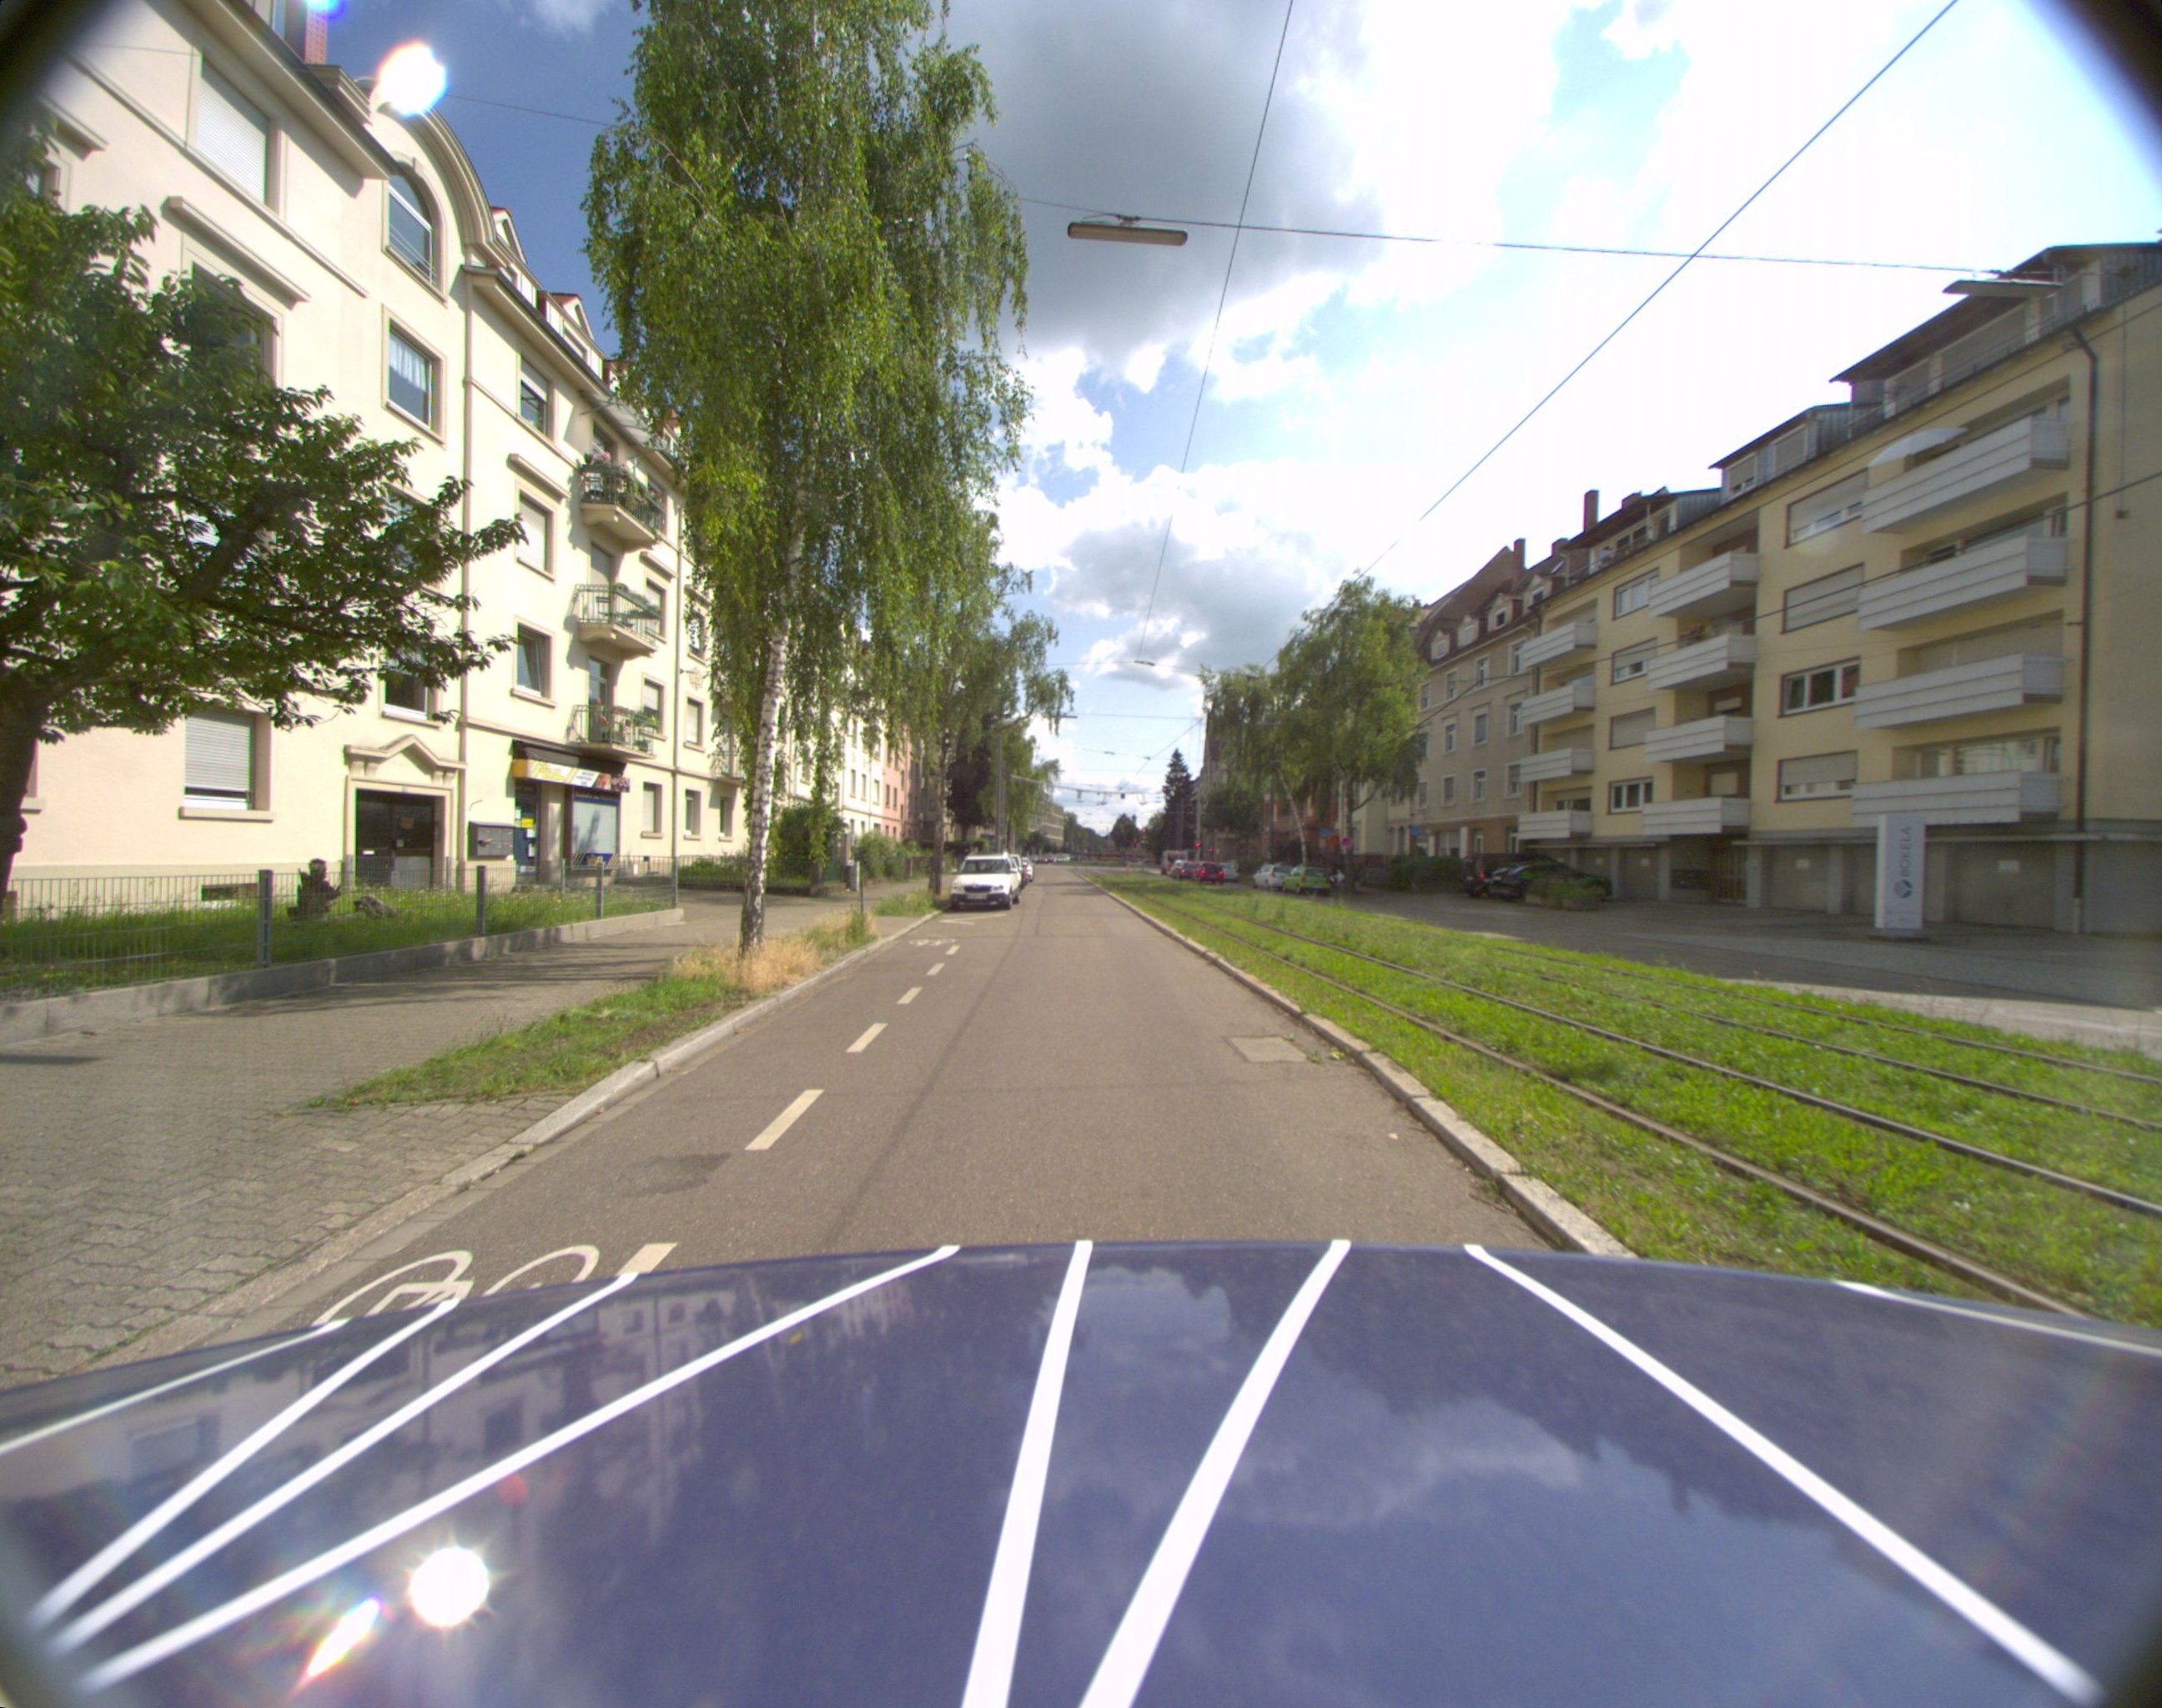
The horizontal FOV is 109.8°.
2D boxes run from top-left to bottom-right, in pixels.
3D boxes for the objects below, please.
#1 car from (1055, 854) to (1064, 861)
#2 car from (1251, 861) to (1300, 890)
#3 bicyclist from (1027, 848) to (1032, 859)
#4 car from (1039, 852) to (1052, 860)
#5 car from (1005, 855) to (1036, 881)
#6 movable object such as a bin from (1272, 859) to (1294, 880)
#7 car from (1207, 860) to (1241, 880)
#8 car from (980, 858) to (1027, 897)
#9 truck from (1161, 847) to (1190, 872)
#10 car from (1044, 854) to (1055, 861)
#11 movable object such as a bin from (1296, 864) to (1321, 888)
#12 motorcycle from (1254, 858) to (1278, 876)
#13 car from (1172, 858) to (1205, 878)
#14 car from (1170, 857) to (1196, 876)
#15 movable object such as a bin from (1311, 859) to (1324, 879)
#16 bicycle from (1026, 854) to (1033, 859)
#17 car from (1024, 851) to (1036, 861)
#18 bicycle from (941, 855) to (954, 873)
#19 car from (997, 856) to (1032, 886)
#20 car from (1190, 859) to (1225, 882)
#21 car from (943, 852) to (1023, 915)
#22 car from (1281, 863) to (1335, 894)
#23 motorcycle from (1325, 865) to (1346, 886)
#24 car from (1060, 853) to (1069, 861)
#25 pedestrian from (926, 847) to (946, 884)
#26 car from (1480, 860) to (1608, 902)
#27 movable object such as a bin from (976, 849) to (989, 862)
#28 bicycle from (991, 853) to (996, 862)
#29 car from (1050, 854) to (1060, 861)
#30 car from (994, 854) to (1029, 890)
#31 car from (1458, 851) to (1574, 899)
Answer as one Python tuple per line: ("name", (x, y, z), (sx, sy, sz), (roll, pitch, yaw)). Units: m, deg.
("car", (-4.277, 0.676, 153.994), (1.620, 1.265, 4.000), (0, 0, 2))
("car", (11.304, 1.238, 44.473), (1.649, 1.469, 4.225), (3, 0, -1))
("bicyclist", (-7.996, -0.095, 118.461), (0.665, 1.679, 0.857), (2, 1, 3))
("car", (-5.848, 0.279, 125.233), (1.741, 1.313, 4.000), (0, 0, 2))
("car", (-3.531, 0.799, 45.132), (1.624, 1.444, 3.917), (-2, 0, -2))
("movable object such as a bin", (13.880, 1.033, 52.177), (0.953, 1.359, 1.521), (-4, 0, -3))
("car", (10.870, 1.184, 57.794), (1.759, 1.348, 3.994), (2, 0, 0))
("car", (-3.103, 0.897, 30.978), (1.677, 1.409, 3.794), (-1, 0, -3))
("truck", (9.096, 0.535, 73.666), (2.190, 2.201, 6.613), (2, 0, 2))
("car", (-5.659, 0.683, 137.199), (1.620, 1.265, 4.000), (0, 0, 2))
("movable object such as a bin", (13.674, 1.319, 45.670), (0.953, 1.421, 1.521), (-1, 0, -3))
("motorcycle", (13.380, 0.961, 54.978), (0.903, 1.235, 2.293), (1, 0, -8))
("car", (8.126, 1.034, 57.680), (1.759, 1.348, 4.511), (3, 1, 0))
("car", (8.576, 1.057, 64.156), (1.759, 1.406, 4.134), (3, 1, 2))
("movable object such as a bin", (16.830, 1.064, 54.114), (0.675, 1.354, 0.699), (1, 0, -5))
("bicycle", (-8.003, 0.378, 118.585), (0.771, 0.885, 1.892), (2, 0, 4))
("car", (-9.414, 0.427, 140.561), (1.999, 1.730, 3.998), (2, 0, -4))
("bicycle", (-8.463, 0.616, 48.259), (0.473, 1.071, 2.182), (2, 0, -1))
("car", (-3.460, 0.860, 40.011), (1.593, 1.444, 3.843), (-2, 0, -2))
("car", (8.401, 1.095, 50.548), (1.583, 1.378, 3.692), (2, 0, -1))
("car", (-2.729, 0.774, 22.037), (1.725, 1.620, 4.000), (-1, 0, 1))
("car", (11.659, 1.242, 39.306), (1.598, 1.423, 3.614), (2, 0, -1))
("motorcycle", (13.814, 1.165, 41.208), (0.500, 1.037, 1.631), (-2, 1, -3))
("car", (-3.551, 0.663, 166.405), (1.739, 1.570, 4.000), (2, 0, 2))
("pedestrian", (-6.785, 0.525, 35.581), (0.731, 1.673, 0.691), (3, 1, 1))
("car", (18.689, 1.075, 30.773), (3.998, 1.593, 1.972), (0, 0, -2))
("movable object such as a bin", (-11.303, 0.188, 87.126), (1.305, 1.483, 2.000), (2, 0, -1))
("bicycle", (-10.133, 0.372, 88.105), (0.350, 1.016, 1.480), (4, 0, -3))
("car", (-4.935, 0.679, 145.695), (1.620, 1.265, 4.000), (0, 0, 2))
("car", (-3.191, 0.801, 35.414), (1.498, 1.570, 3.757), (-1, 0, -3))
("car", (19.029, 0.884, 33.367), (3.996, 2.002, 1.937), (0, 0, 1))
